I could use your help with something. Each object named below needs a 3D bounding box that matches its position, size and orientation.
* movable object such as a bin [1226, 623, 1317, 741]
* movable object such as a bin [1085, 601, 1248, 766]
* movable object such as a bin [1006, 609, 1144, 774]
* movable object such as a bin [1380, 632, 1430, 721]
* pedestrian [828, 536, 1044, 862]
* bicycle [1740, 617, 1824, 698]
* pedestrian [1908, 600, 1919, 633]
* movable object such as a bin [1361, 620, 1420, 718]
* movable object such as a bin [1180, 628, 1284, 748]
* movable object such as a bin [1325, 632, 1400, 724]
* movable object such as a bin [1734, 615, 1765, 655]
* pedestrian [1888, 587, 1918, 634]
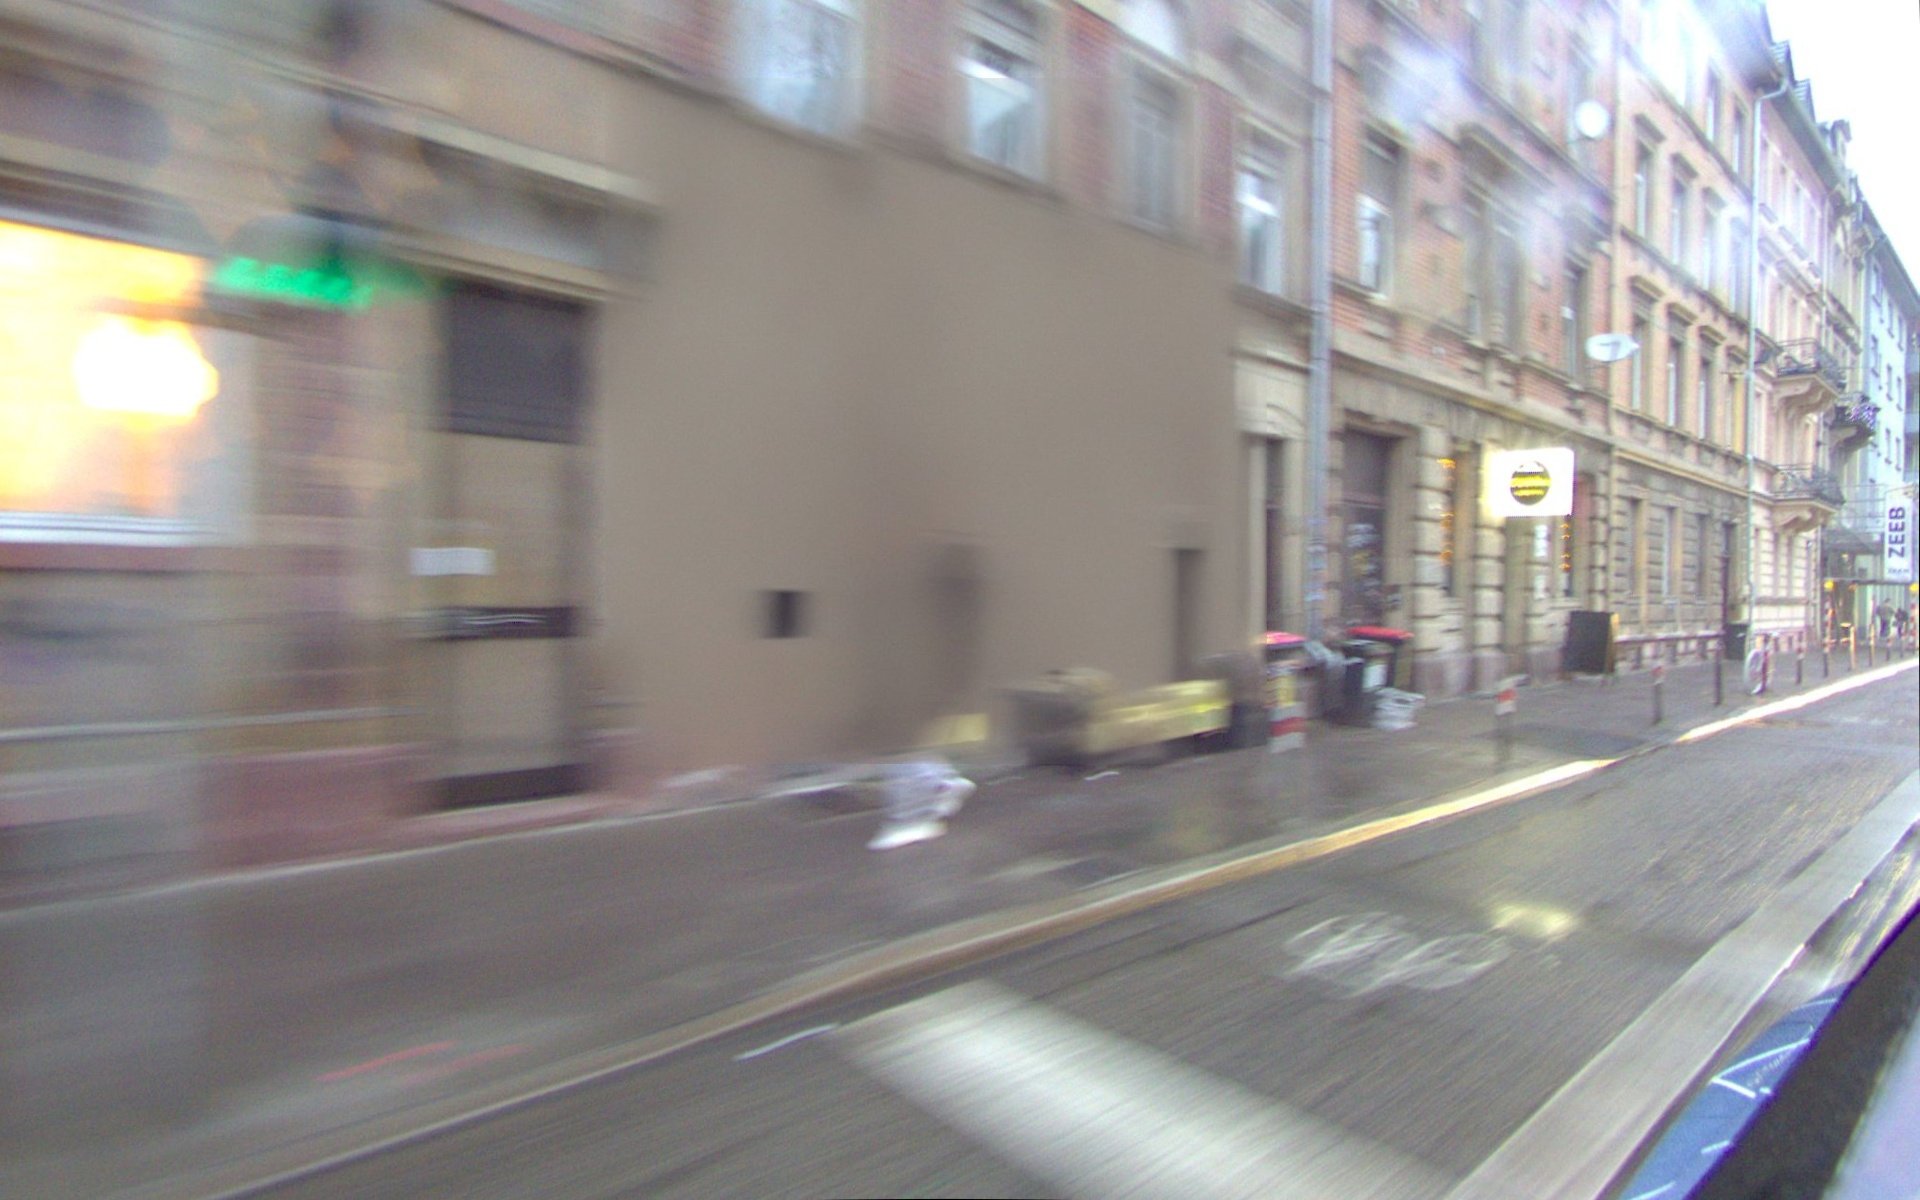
[{"bbox_3d":[3.071,0.784,10.010,0.587,1.095,0.614,1,0,-25],"label":"movable object such as a bin"},{"bbox_3d":[1.824,0.670,8.863,0.887,1.304,1.243,1,0,42],"label":"movable object such as a bin"},{"bbox_3d":[0.929,0.699,8.208,0.804,1.226,0.766,1,0,-40],"label":"movable object such as a bin"},{"bbox_3d":[4.968,0.840,11.311,0.484,0.940,0.422,1,0,23],"label":"movable object such as a bin"},{"bbox_3d":[-0.155,0.499,5.928,0.934,1.721,0.838,0,3,-32],"label":"pedestrian"},{"bbox_3d":[13.268,0.891,16.312,2.150,1.171,0.685,-1,0,-41],"label":"bicycle"},{"bbox_3d":[40.985,0.715,43.247,0.716,1.394,0.601,0,0,-41],"label":"pedestrian"},{"bbox_3d":[5.066,0.793,11.920,0.606,1.094,0.488,1,0,21],"label":"movable object such as a bin"},{"bbox_3d":[2.579,0.814,9.650,0.587,1.051,0.768,1,0,-25],"label":"movable object such as a bin"},{"bbox_3d":[4.417,0.844,11.120,0.483,0.940,0.612,1,0,-42],"label":"movable object such as a bin"},{"bbox_3d":[19.004,0.831,24.370,0.498,0.943,0.507,1,0,-42],"label":"movable object such as a bin"},{"bbox_3d":[37.380,0.421,40.113,0.593,1.841,0.770,0,0,22],"label":"pedestrian"}]
